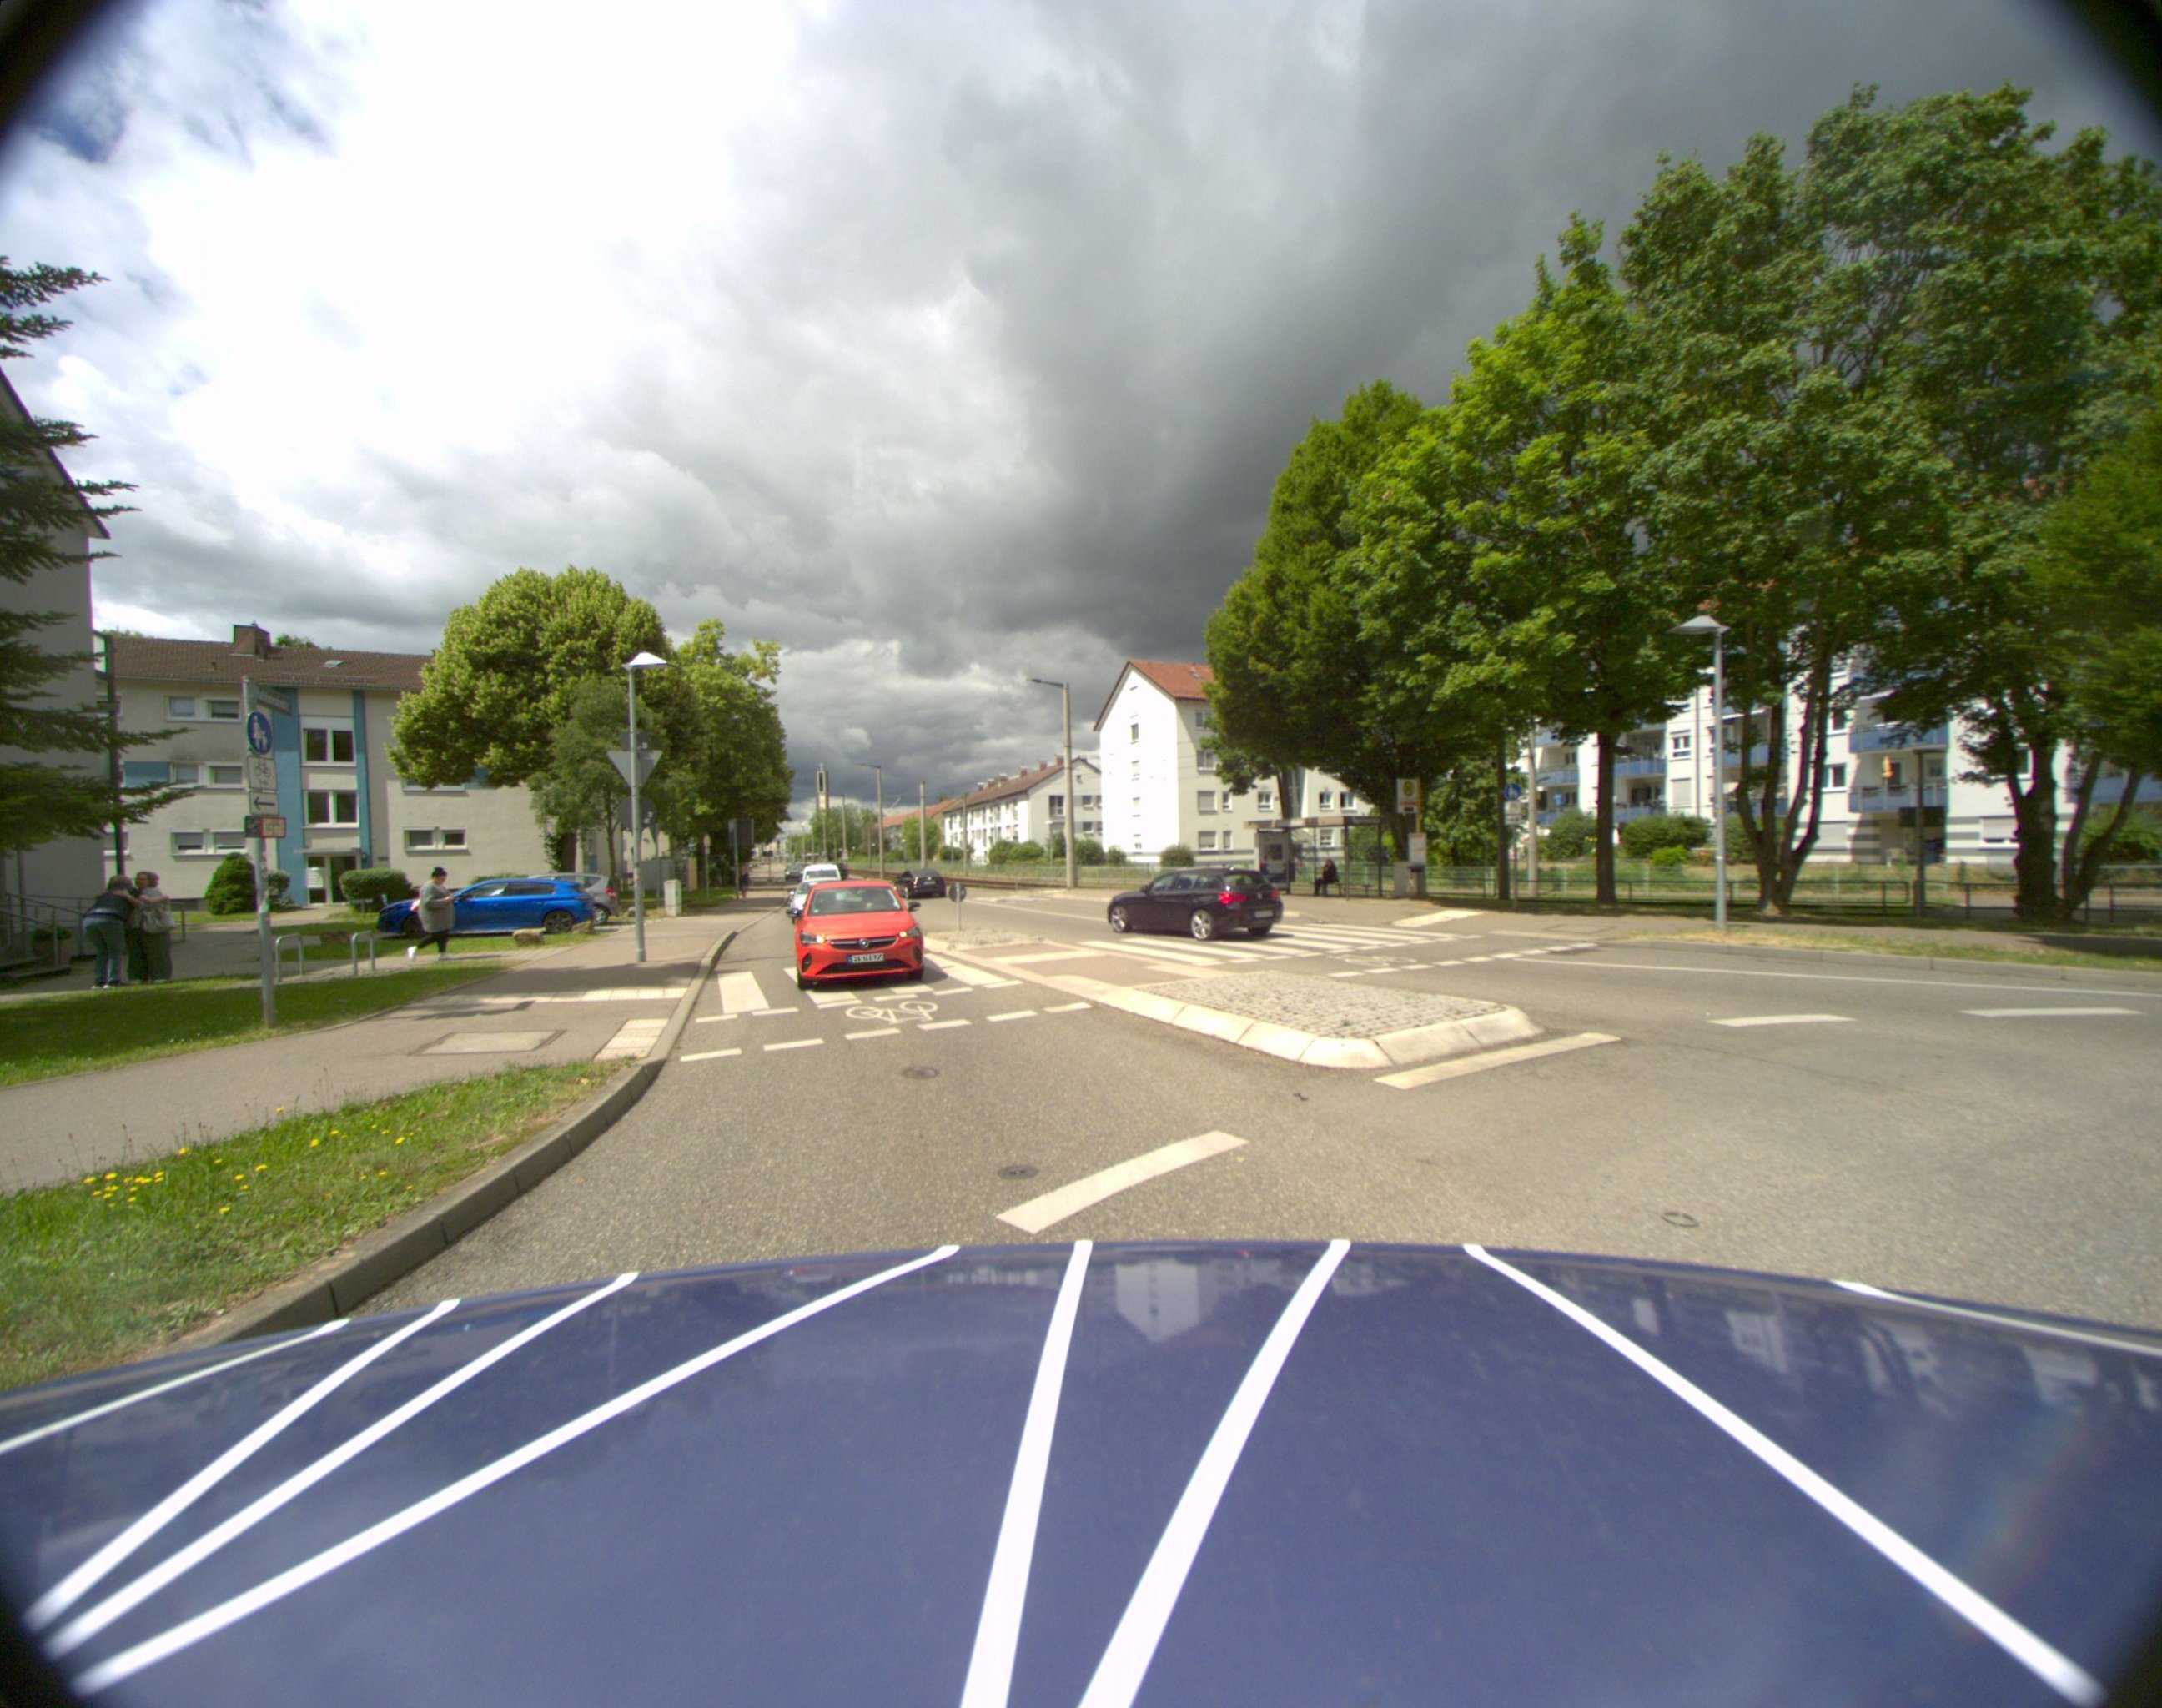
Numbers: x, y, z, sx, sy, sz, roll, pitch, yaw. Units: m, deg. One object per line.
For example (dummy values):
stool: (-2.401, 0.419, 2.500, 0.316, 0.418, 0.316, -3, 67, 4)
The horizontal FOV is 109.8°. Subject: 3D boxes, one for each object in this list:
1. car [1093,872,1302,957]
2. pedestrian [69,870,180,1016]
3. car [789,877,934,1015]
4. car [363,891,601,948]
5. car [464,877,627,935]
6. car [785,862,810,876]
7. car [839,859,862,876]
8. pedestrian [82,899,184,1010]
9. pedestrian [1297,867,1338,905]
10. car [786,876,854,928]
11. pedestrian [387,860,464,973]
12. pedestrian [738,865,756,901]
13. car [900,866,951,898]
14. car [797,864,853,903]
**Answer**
car: (2.363, 1.186, 16.437, 1.862, 1.446, 4.376, -3, 1, -36)
pedestrian: (-13.999, 1.250, 11.153, 0.657, 2.002, 1.044, -1, 1, -31)
car: (-3.443, 1.229, 11.724, 1.768, 1.548, 3.993, -2, 1, -18)
car: (-14.881, 1.596, 19.271, 4.506, 1.236, 1.995, 2, -1, -32)
car: (-15.689, 1.479, 22.550, 3.747, 1.547, 2.027, 1, -1, -30)
car: (-28.801, 1.540, 77.244, 1.921, 1.309, 3.995, -1, 0, -15)
car: (-22.782, 1.328, 74.918, 2.002, 1.517, 4.516, 0, 1, -19)
pedestrian: (-14.086, 1.463, 11.319, 0.745, 1.521, 0.689, -1, 1, -33)
pedestrian: (7.379, 0.994, 23.750, 0.802, 1.129, 0.909, -3, 1, -26)
car: (-8.336, 1.479, 24.590, 1.766, 1.389, 3.995, -1, 0, -15)
pedestrian: (-11.832, 1.083, 13.750, 0.944, 1.945, 0.840, -1, 1, -36)
pedestrian: (-15.744, 1.374, 35.811, 0.685, 1.651, 0.829, -1, 1, -28)
car: (-7.552, 1.295, 36.570, 1.825, 1.375, 4.610, -1, 0, -19)
car: (-11.590, 1.274, 34.222, 2.002, 1.598, 3.992, -1, 0, -24)
